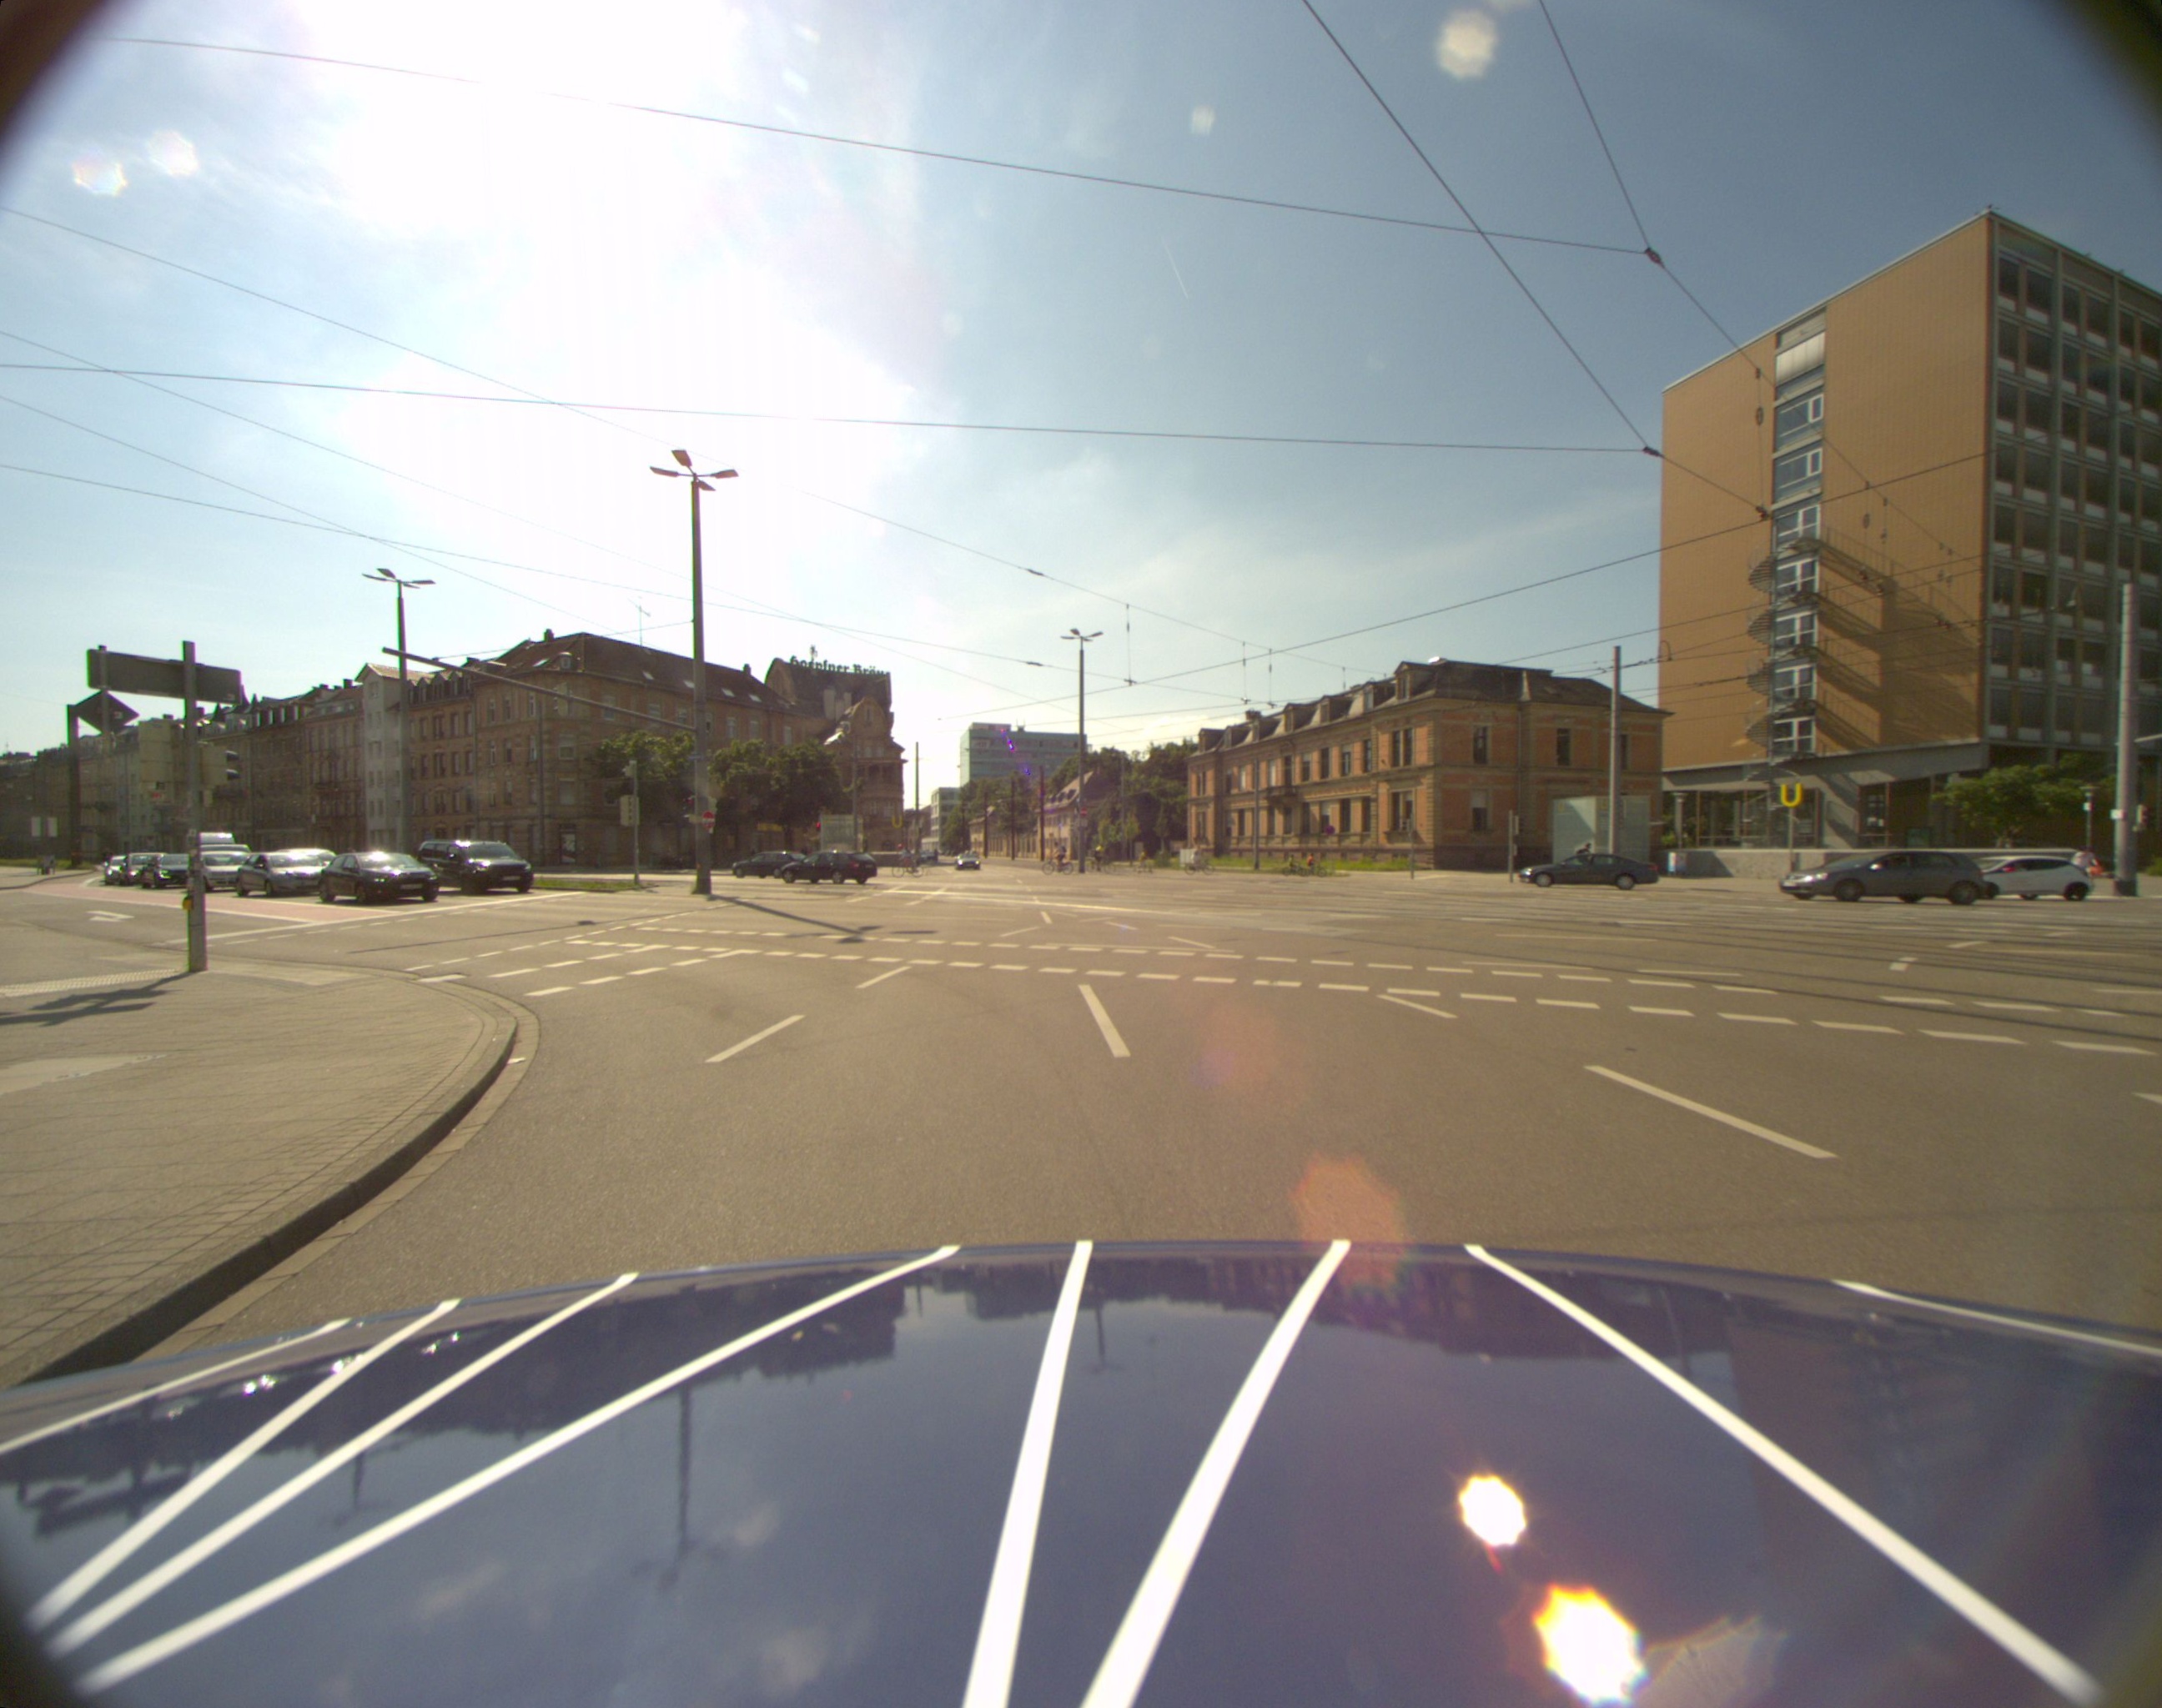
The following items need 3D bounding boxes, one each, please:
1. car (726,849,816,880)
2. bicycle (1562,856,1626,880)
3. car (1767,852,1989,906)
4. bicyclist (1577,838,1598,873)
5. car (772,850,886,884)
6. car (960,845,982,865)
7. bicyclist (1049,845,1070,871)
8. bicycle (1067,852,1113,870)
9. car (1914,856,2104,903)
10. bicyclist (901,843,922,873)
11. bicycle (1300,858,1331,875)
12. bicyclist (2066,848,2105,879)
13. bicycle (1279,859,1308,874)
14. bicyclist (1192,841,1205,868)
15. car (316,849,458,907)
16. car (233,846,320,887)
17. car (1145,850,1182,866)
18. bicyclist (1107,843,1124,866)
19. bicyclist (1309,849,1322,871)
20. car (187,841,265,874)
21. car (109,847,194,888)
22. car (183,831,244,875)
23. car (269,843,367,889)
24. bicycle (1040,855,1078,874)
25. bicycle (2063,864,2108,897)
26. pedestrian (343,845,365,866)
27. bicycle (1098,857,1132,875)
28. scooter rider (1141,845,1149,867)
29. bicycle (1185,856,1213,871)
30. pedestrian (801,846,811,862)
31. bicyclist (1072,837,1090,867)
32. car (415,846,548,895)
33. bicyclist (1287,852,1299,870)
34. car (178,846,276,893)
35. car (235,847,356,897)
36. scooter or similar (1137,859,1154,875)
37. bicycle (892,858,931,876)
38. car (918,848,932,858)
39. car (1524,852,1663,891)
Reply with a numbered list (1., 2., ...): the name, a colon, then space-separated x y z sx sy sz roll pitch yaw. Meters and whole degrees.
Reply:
1. car: -16.469 0.539 40.364 4.387 1.422 1.708 2 3 20
2. bicycle: 24.036 0.625 35.630 2.456 1.063 0.670 0 1 35
3. car: 22.184 0.667 21.317 4.113 1.416 1.653 0 1 10
4. bicyclist: 23.802 0.074 35.693 0.780 1.615 0.670 0 2 36
5. car: -11.168 0.545 33.619 4.768 1.427 1.638 0 1 20
6. car: -8.671 0.055 59.903 1.638 1.575 3.997 0 1 -7
7. bicyclist: -1.198 0.230 42.779 0.948 1.479 0.718 -1 -1 23
8. bicycle: 0.528 0.424 46.785 2.745 1.062 0.929 0 -1 -4
9. car: 30.807 0.822 25.355 3.753 1.466 1.684 0 1 13
10. bicyclist: -9.570 0.240 42.831 0.872 1.660 0.717 0 3 20
11. bicycle: 13.045 0.702 42.259 1.573 0.881 0.520 1 1 9
12. bicyclist: 36.005 0.324 27.256 0.918 1.023 0.714 -4 4 -44
13. bicycle: 12.178 0.700 43.545 1.584 0.860 0.502 0 -1 10
14. bicyclist: 6.971 0.017 45.100 0.648 1.611 0.502 0 -1 17
15. car: -20.838 0.647 22.801 4.199 1.578 1.901 0 1 29
16. car: -39.460 0.593 37.251 4.189 1.905 1.904 -1 1 29
17. car: 6.807 0.315 62.935 1.674 1.306 3.446 0 1 -21
18. bicyclist: 2.134 0.030 47.388 0.908 1.412 0.685 -1 -1 14
19. bicyclist: 13.055 0.318 42.232 0.603 1.190 0.520 1 1 9
20. car: -46.424 0.154 41.239 5.014 1.671 2.197 0 1 35
21. car: -44.541 0.640 36.403 4.189 1.835 1.816 -1 1 29
22. car: -53.735 0.006 47.034 5.858 2.560 2.221 -1 -1 38
23. car: -33.501 0.543 33.345 4.189 1.905 1.904 -1 1 29
24. bicycle: -1.223 0.595 42.793 2.016 1.009 0.718 -1 -1 22
25. bicycle: 35.973 0.929 27.237 1.922 1.010 0.714 -4 4 -44
26. pedestrian: -50.790 0.093 53.087 0.888 1.424 0.711 -1 1 -24
27. bicycle: 2.123 0.754 47.381 2.022 1.062 0.686 -1 -1 15
28. scooter rider: 3.970 0.125 46.953 0.406 1.389 0.589 -1 -1 12
29. bicycle: 6.985 0.555 45.074 1.584 0.860 0.502 0 -1 17
30. pedestrian: -24.029 0.017 66.408 0.713 1.424 0.613 0 -1 -25
31. bicyclist: 0.008 -0.113 46.761 1.052 1.809 0.929 0 -1 -5
32. car: -20.889 0.517 26.448 4.703 1.578 1.971 0 1 29
33. bicyclist: 12.141 0.391 43.555 0.604 1.023 0.502 0 -1 10
34. car: -33.893 0.612 30.142 4.189 1.729 1.660 -1 1 29
35. car: -27.010 0.613 26.109 3.989 1.578 1.904 -1 1 29
36. scooter or similar: 3.971 0.828 46.948 0.990 0.970 0.589 -1 -1 12
37. bicycle: -9.568 0.729 42.870 2.016 1.010 0.717 0 3 20
38. car: -22.111 -0.202 107.641 1.640 1.337 3.577 0 1 -19
39. car: 20.538 0.652 30.623 4.515 1.427 1.639 0 1 33
